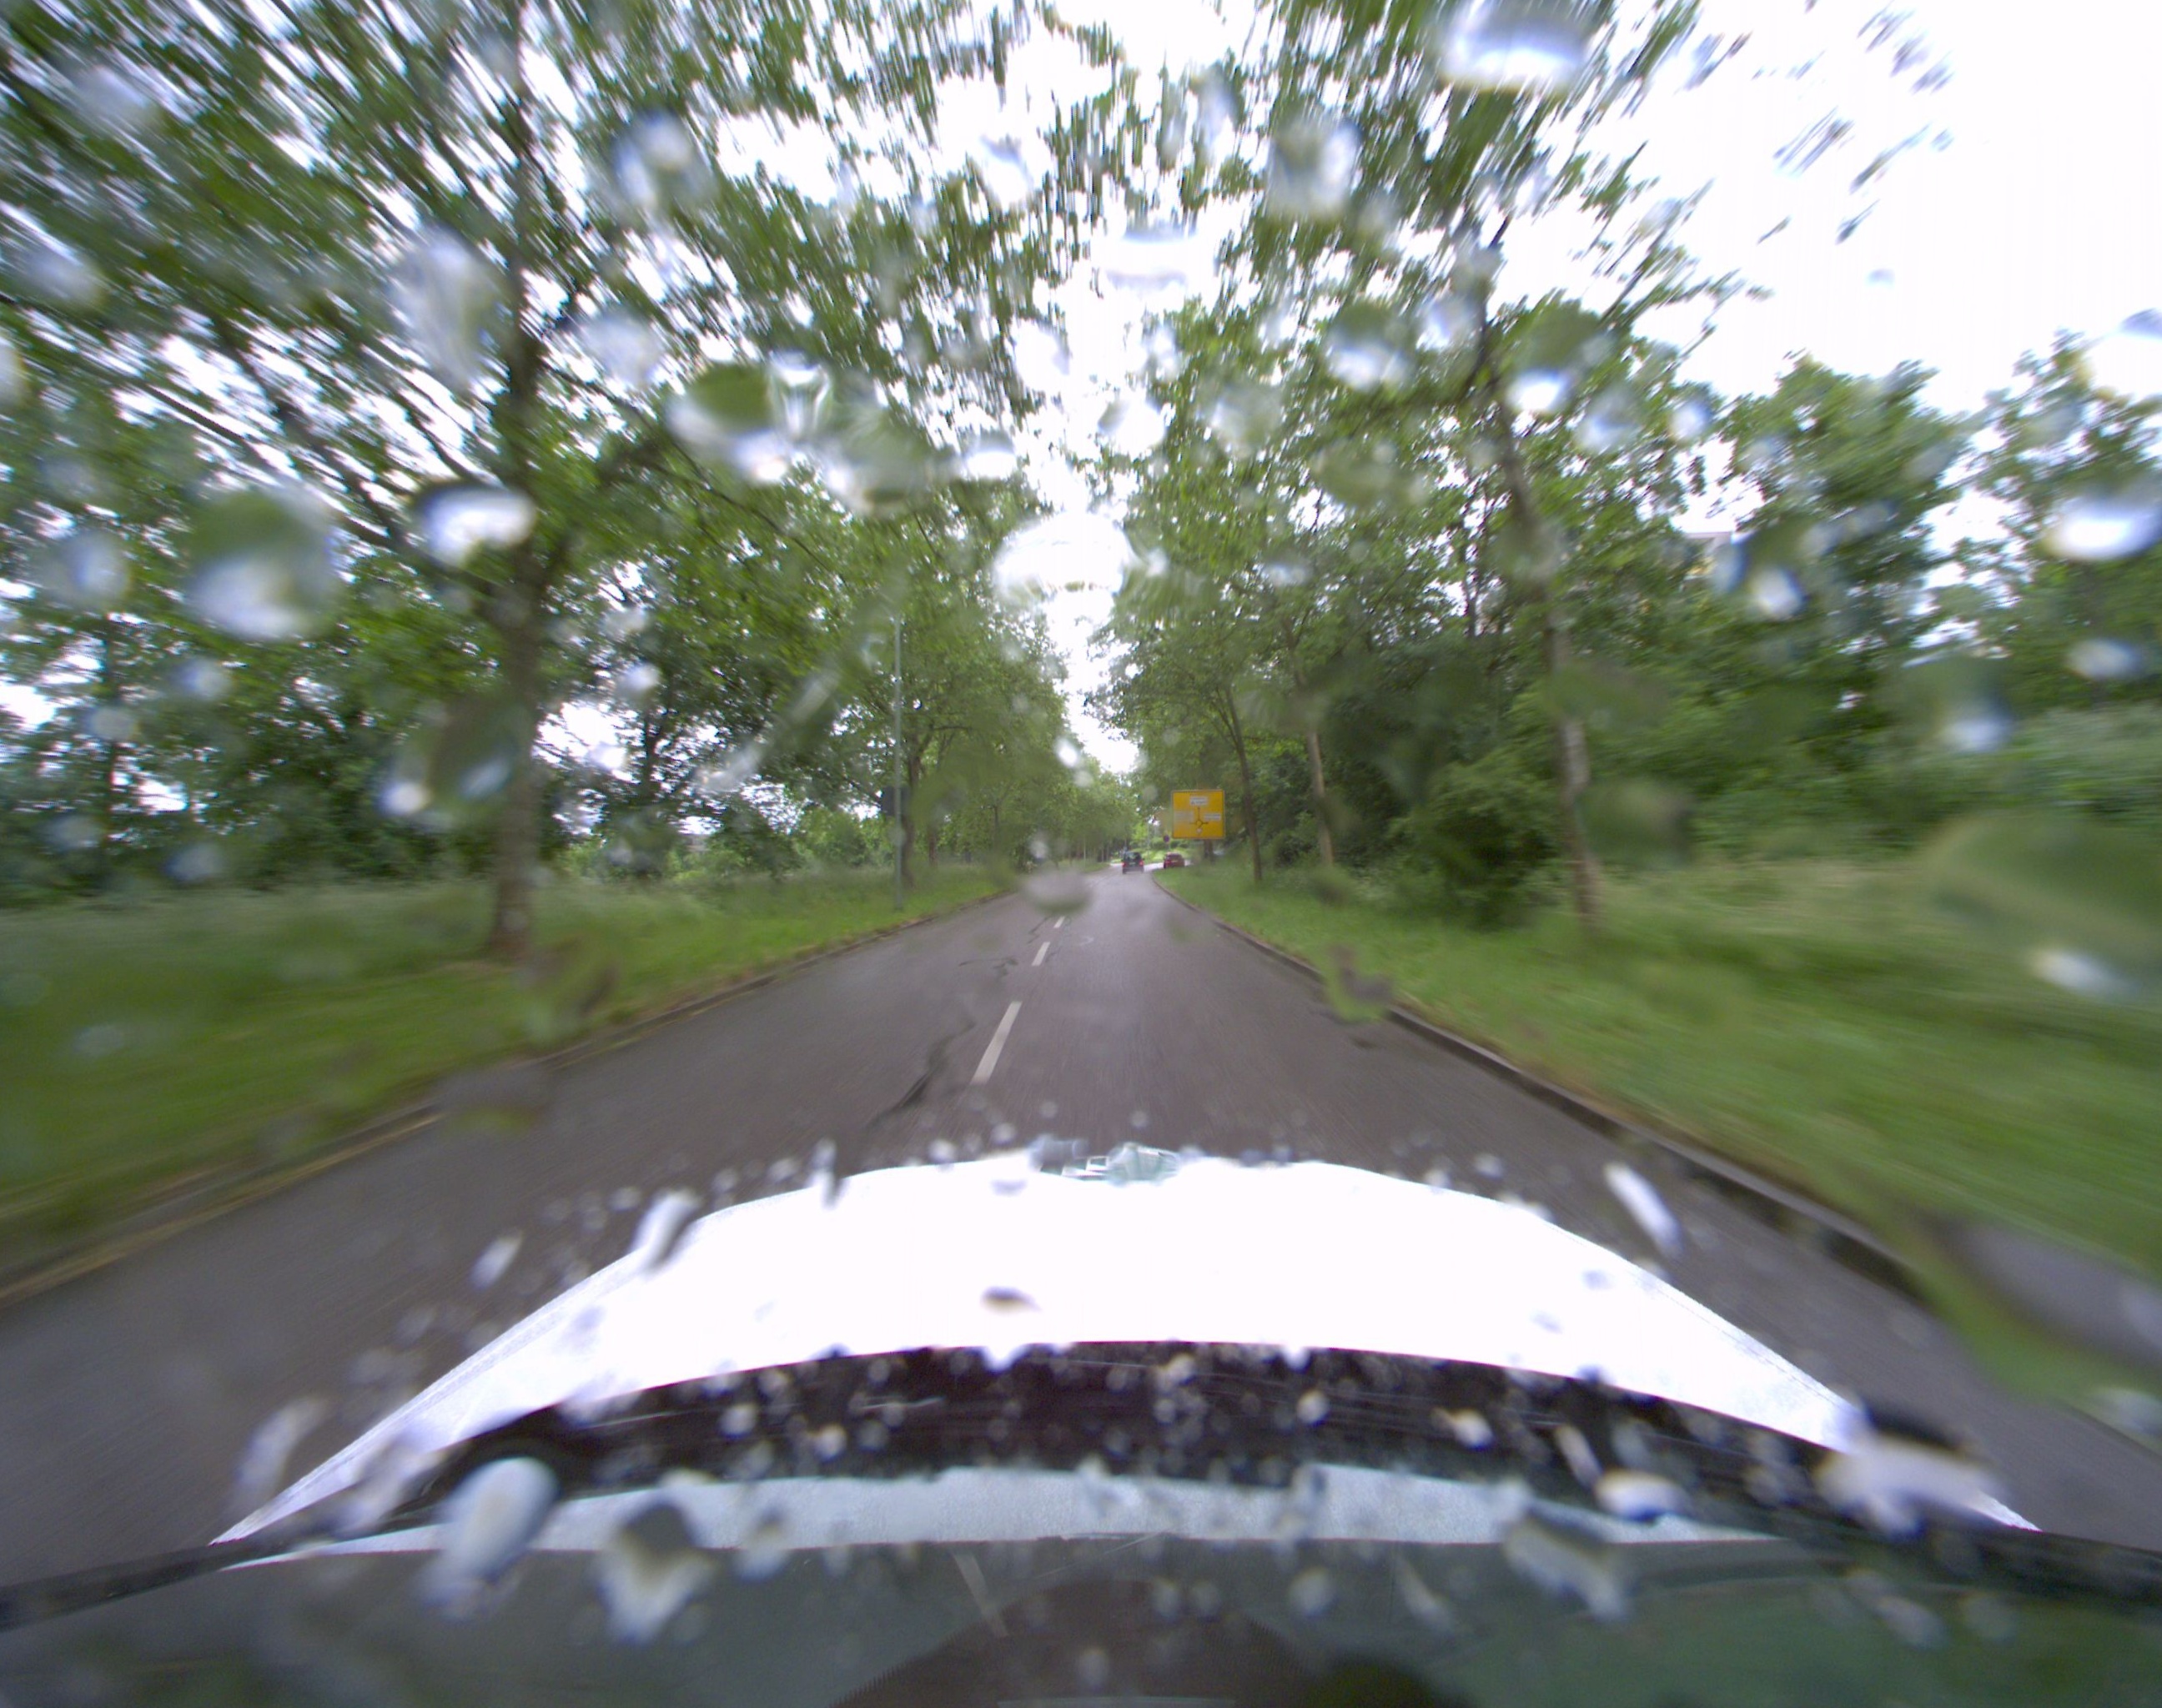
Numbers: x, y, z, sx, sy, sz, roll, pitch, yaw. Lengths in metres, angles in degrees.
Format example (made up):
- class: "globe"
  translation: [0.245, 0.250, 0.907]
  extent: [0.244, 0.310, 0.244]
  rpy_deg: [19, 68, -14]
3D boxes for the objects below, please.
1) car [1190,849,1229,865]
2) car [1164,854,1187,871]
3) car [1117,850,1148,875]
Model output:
- class: "car"
  translation: [14.965, 0.318, 94.778]
  extent: [4.445, 1.680, 1.771]
  rpy_deg: [-2, 1, 7]
- class: "car"
  translation: [7.986, 0.702, 68.977]
  extent: [1.788, 1.372, 3.750]
  rpy_deg: [-3, -1, 6]
- class: "car"
  translation: [4.375, 0.701, 68.495]
  extent: [1.906, 1.801, 3.802]
  rpy_deg: [-6, 0, 11]
